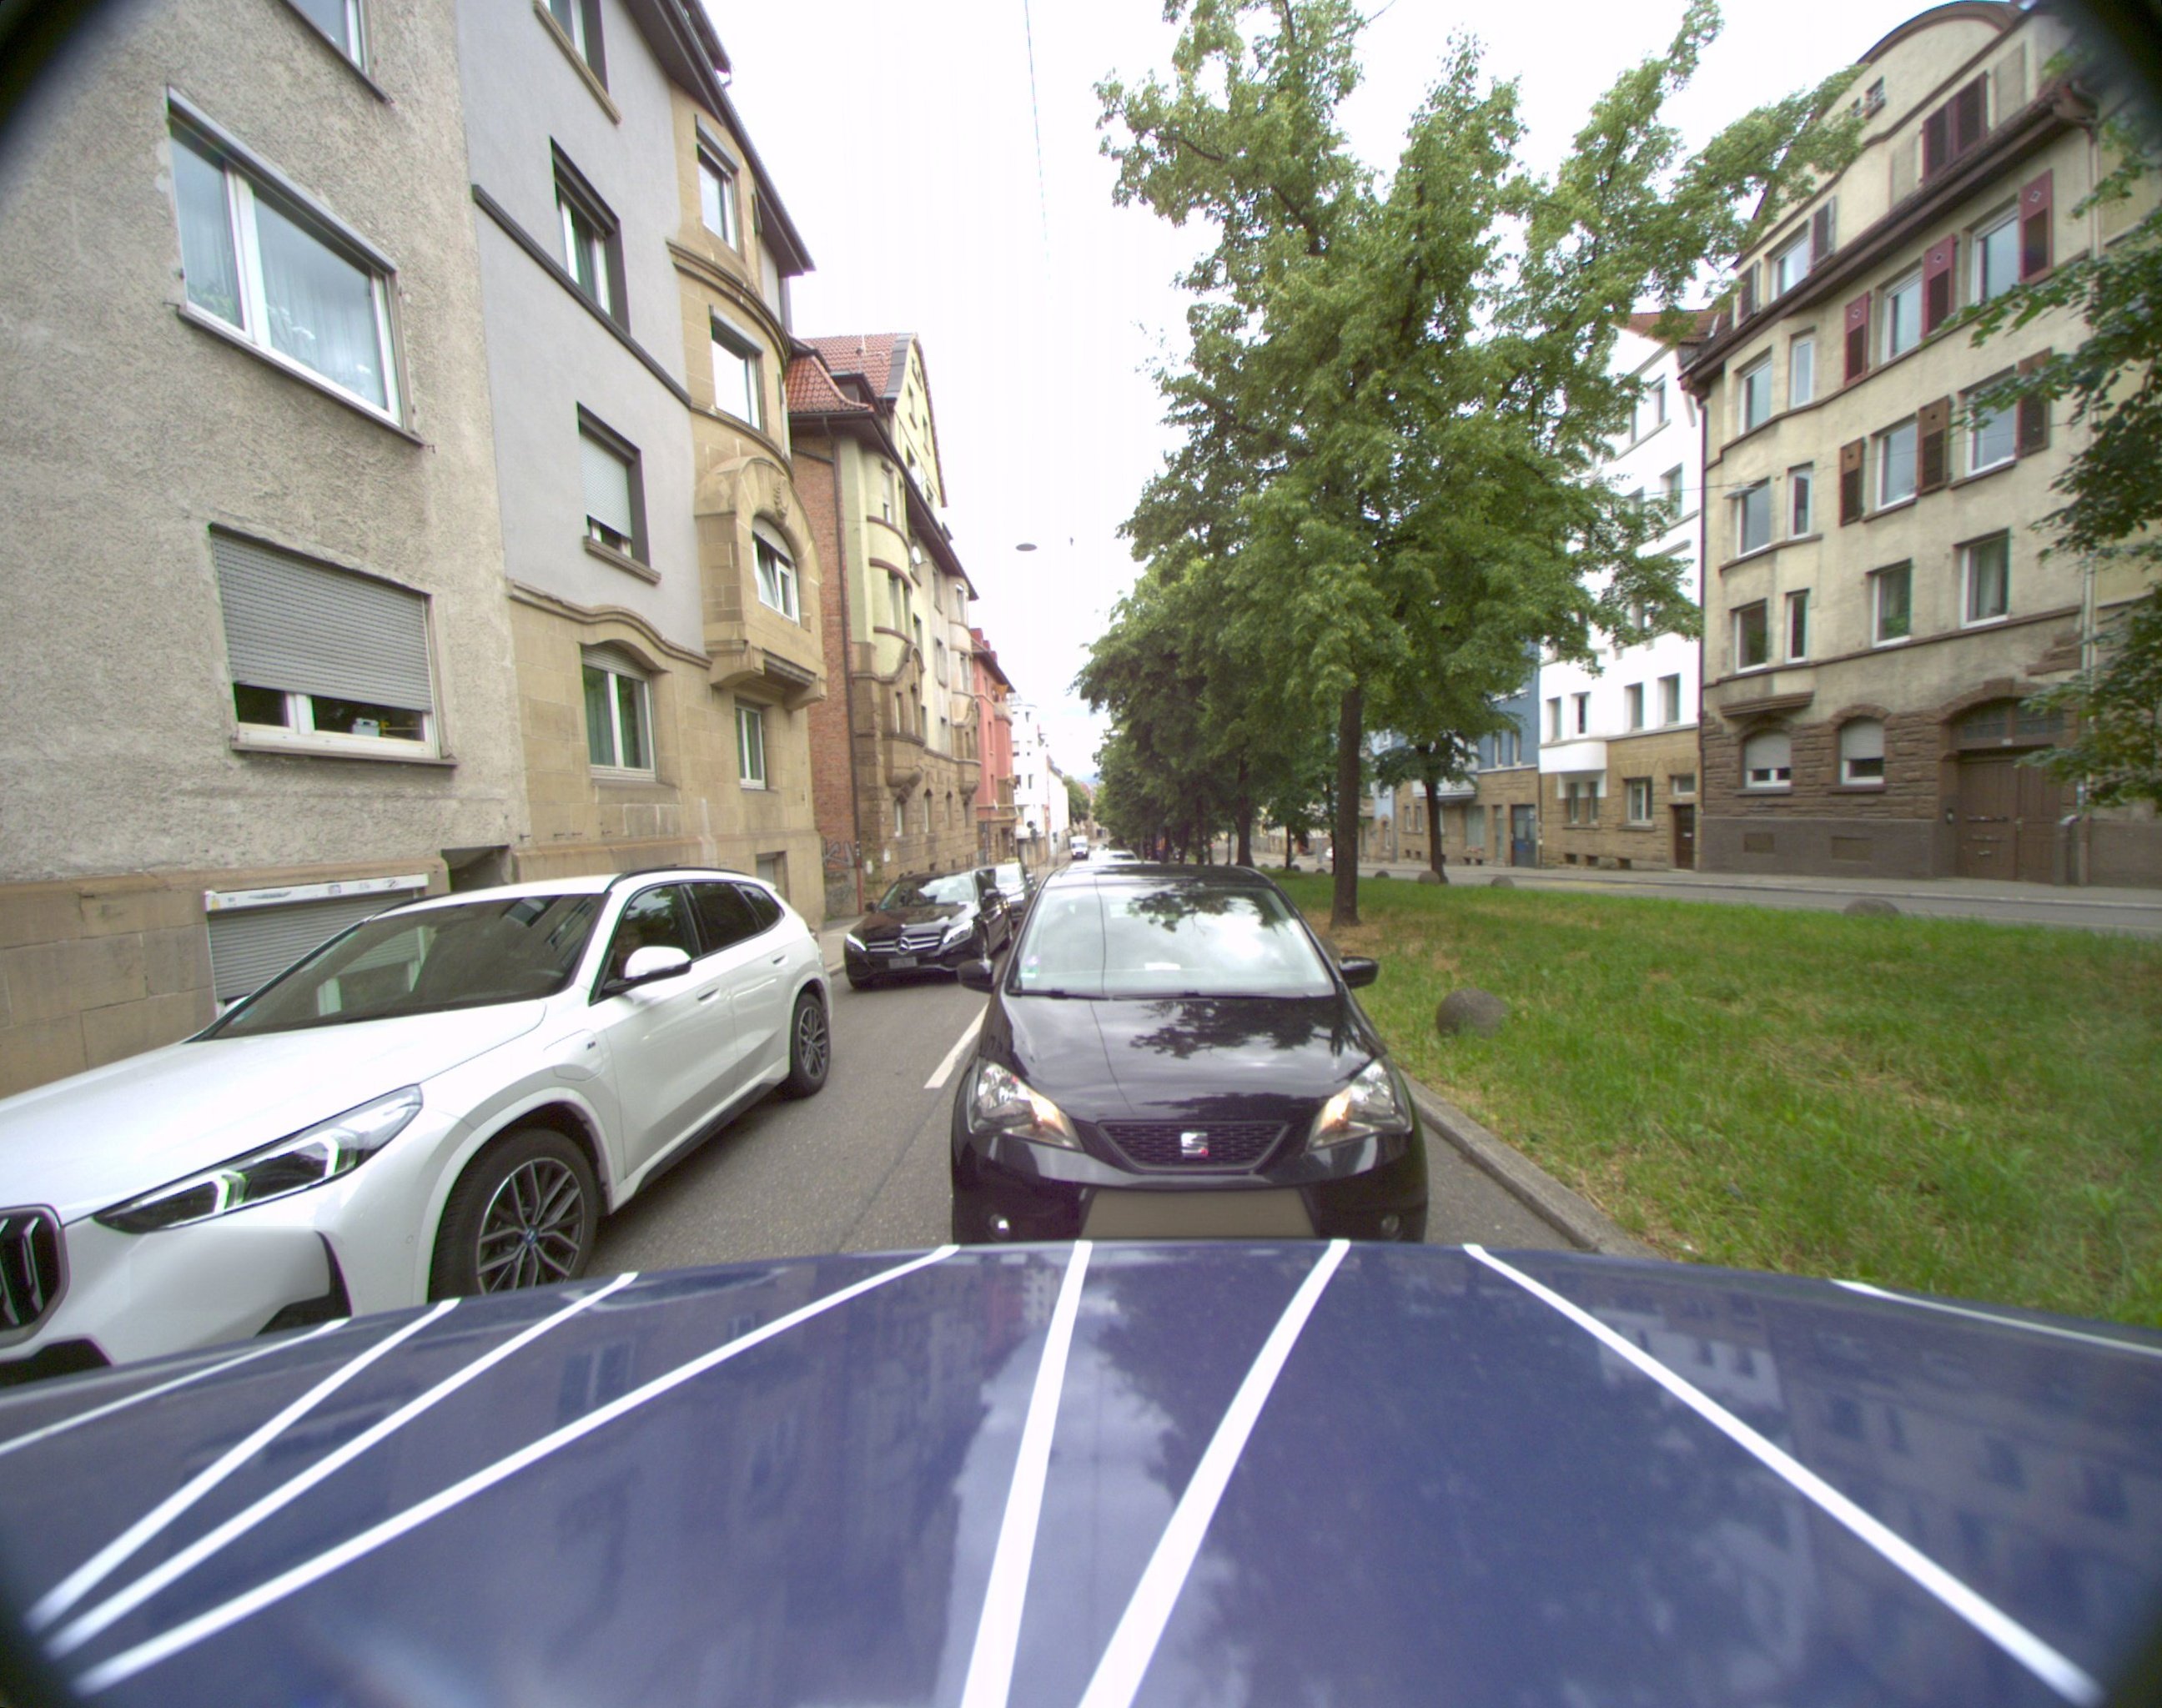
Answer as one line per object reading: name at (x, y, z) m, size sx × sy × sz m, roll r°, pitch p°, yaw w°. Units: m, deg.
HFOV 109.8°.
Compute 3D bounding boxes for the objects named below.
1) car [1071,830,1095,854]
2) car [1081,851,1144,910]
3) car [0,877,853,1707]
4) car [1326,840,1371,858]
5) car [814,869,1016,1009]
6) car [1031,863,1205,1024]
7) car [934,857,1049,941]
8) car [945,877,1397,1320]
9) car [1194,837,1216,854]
car at (0.256, -1.470, 94.401) m, size 2.716 × 2.879 × 6.452 m, roll -2°, pitch 1°, yaw 1°
car at (0.861, 0.688, 22.015) m, size 1.607 × 1.492 × 3.737 m, roll -2°, pitch 1°, yaw 1°
car at (-2.803, 1.079, 3.754) m, size 1.859 × 1.547 × 4.350 m, roll -6°, pitch 1°, yaw 0°
car at (22.205, -0.427, 63.114) m, size 3.291 × 1.323 × 1.672 m, roll -2°, pitch 1°, yaw 10°
car at (-2.168, 1.070, 11.219) m, size 1.884 × 1.369 × 4.205 m, roll -6°, pitch 1°, yaw 1°
car at (0.388, 0.907, 9.296) m, size 1.664 × 1.456 × 3.581 m, roll -2°, pitch 1°, yaw 1°
car at (-1.964, 0.953, 18.004) m, size 1.936 × 1.506 × 4.303 m, roll -6°, pitch 1°, yaw 2°
car at (0.345, 0.932, 4.372) m, size 1.611 × 1.457 × 3.296 m, roll 0°, pitch 1°, yaw 1°
car at (14.744, -0.979, 90.389) m, size 1.998 × 1.933 × 5.308 m, roll -3°, pitch 0°, yaw 4°
